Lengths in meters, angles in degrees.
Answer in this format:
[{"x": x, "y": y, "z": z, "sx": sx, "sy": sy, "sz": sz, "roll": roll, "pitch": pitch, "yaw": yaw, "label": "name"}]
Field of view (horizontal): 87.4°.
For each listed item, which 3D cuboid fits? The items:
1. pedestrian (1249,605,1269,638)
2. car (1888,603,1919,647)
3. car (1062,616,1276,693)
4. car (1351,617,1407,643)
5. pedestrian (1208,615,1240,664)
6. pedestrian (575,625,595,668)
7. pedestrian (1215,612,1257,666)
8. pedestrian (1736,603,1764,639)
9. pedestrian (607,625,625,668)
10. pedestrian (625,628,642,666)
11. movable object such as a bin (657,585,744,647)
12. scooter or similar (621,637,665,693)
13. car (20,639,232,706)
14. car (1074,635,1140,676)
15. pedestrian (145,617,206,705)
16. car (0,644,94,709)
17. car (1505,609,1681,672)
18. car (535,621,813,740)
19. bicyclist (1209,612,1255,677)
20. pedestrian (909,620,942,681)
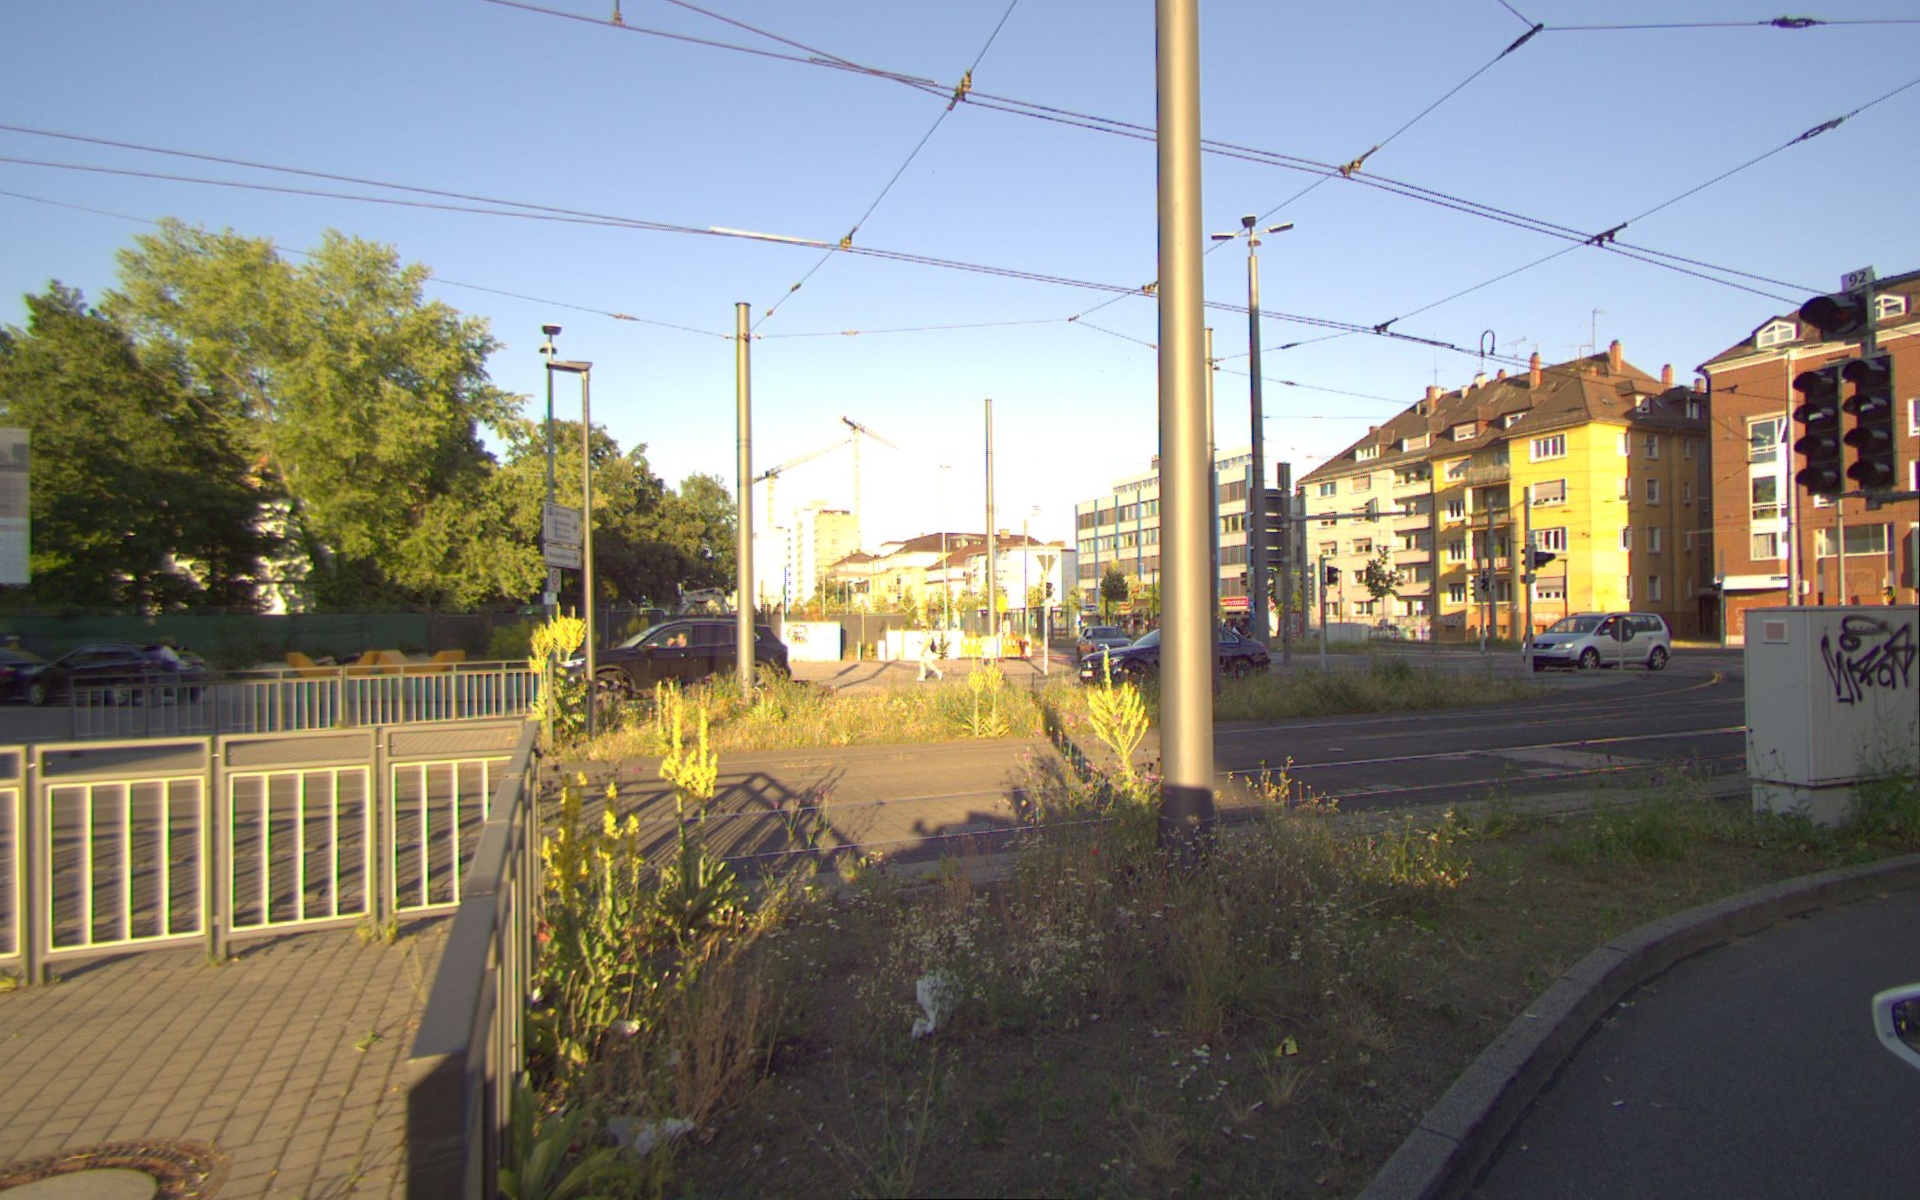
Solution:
[{"x": 17.556, "y": 1.261, "z": 59.023, "sx": 0.878, "sy": 1.892, "sz": 0.713, "roll": 0, "pitch": -1, "yaw": -40, "label": "pedestrian"}, {"x": 33.947, "y": 0.815, "z": 34.133, "sx": 4.133, "sy": 1.467, "sz": 1.669, "roll": -1, "pitch": -1, "yaw": -16, "label": "car"}, {"x": 4.854, "y": 1.217, "z": 23.372, "sx": 4.518, "sy": 1.606, "sz": 1.991, "roll": -1, "pitch": -1, "yaw": -21, "label": "car"}, {"x": 34.600, "y": 2.431, "z": 83.010, "sx": 1.973, "sy": 2.040, "sz": 3.974, "roll": 0, "pitch": 0, "yaw": -25, "label": "car"}, {"x": 10.590, "y": 1.561, "z": 40.277, "sx": 0.884, "sy": 1.936, "sz": 0.839, "roll": 0, "pitch": -1, "yaw": -31, "label": "pedestrian"}, {"x": -15.040, "y": 1.850, "z": 40.294, "sx": 0.595, "sy": 1.680, "sz": 0.530, "roll": 0, "pitch": -1, "yaw": -39, "label": "pedestrian"}, {"x": 10.303, "y": 1.444, "z": 37.475, "sx": 1.016, "sy": 1.970, "sz": 1.088, "roll": 0, "pitch": -1, "yaw": -39, "label": "pedestrian"}, {"x": 42.470, "y": 1.102, "z": 53.985, "sx": 0.828, "sy": 1.893, "sz": 0.936, "roll": -1, "pitch": 1, "yaw": -29, "label": "pedestrian"}, {"x": -13.731, "y": 1.846, "z": 40.110, "sx": 0.592, "sy": 1.680, "sz": 0.532, "roll": 0, "pitch": -1, "yaw": -27, "label": "pedestrian"}, {"x": -13.125, "y": 1.886, "z": 40.377, "sx": 0.616, "sy": 1.515, "sz": 0.639, "roll": -1, "pitch": -1, "yaw": -20, "label": "pedestrian"}, {"x": -14.013, "y": 0.868, "z": 54.457, "sx": 4.262, "sy": 3.272, "sz": 1.999, "roll": -1, "pitch": -1, "yaw": -6, "label": "movable object such as a bin"}, {"x": -8.651, "y": 1.765, "z": 27.417, "sx": 0.507, "sy": 1.465, "sz": 1.256, "roll": -1, "pitch": -1, "yaw": 17, "label": "scooter or similar"}, {"x": -20.276, "y": 1.747, "z": 24.501, "sx": 3.919, "sy": 1.505, "sz": 2.001, "roll": -1, "pitch": -1, "yaw": 13, "label": "car"}, {"x": 6.467, "y": 2.439, "z": 44.738, "sx": 1.962, "sy": 1.639, "sz": 4.563, "roll": -1, "pitch": -1, "yaw": -4, "label": "car"}, {"x": -17.375, "y": 1.341, "z": 22.252, "sx": 0.750, "sy": 1.918, "sz": 0.730, "roll": -1, "pitch": -1, "yaw": 4, "label": "pedestrian"}, {"x": -24.701, "y": 1.926, "z": 25.589, "sx": 4.011, "sy": 1.505, "sz": 2.001, "roll": -1, "pitch": -1, "yaw": 13, "label": "car"}, {"x": 17.815, "y": 1.111, "z": 28.334, "sx": 4.045, "sy": 1.606, "sz": 1.994, "roll": -1, "pitch": -1, "yaw": -15, "label": "car"}, {"x": -5.373, "y": 1.410, "z": 18.983, "sx": 4.751, "sy": 1.926, "sz": 1.986, "roll": 0, "pitch": -1, "yaw": -28, "label": "car"}, {"x": 7.380, "y": 1.197, "z": 27.255, "sx": 0.963, "sy": 1.711, "sz": 0.663, "roll": -1, "pitch": -1, "yaw": -13, "label": "bicyclist"}, {"x": -1.088, "y": 1.610, "z": 32.079, "sx": 0.867, "sy": 1.892, "sz": 0.977, "roll": -1, "pitch": -1, "yaw": 9, "label": "pedestrian"}]
